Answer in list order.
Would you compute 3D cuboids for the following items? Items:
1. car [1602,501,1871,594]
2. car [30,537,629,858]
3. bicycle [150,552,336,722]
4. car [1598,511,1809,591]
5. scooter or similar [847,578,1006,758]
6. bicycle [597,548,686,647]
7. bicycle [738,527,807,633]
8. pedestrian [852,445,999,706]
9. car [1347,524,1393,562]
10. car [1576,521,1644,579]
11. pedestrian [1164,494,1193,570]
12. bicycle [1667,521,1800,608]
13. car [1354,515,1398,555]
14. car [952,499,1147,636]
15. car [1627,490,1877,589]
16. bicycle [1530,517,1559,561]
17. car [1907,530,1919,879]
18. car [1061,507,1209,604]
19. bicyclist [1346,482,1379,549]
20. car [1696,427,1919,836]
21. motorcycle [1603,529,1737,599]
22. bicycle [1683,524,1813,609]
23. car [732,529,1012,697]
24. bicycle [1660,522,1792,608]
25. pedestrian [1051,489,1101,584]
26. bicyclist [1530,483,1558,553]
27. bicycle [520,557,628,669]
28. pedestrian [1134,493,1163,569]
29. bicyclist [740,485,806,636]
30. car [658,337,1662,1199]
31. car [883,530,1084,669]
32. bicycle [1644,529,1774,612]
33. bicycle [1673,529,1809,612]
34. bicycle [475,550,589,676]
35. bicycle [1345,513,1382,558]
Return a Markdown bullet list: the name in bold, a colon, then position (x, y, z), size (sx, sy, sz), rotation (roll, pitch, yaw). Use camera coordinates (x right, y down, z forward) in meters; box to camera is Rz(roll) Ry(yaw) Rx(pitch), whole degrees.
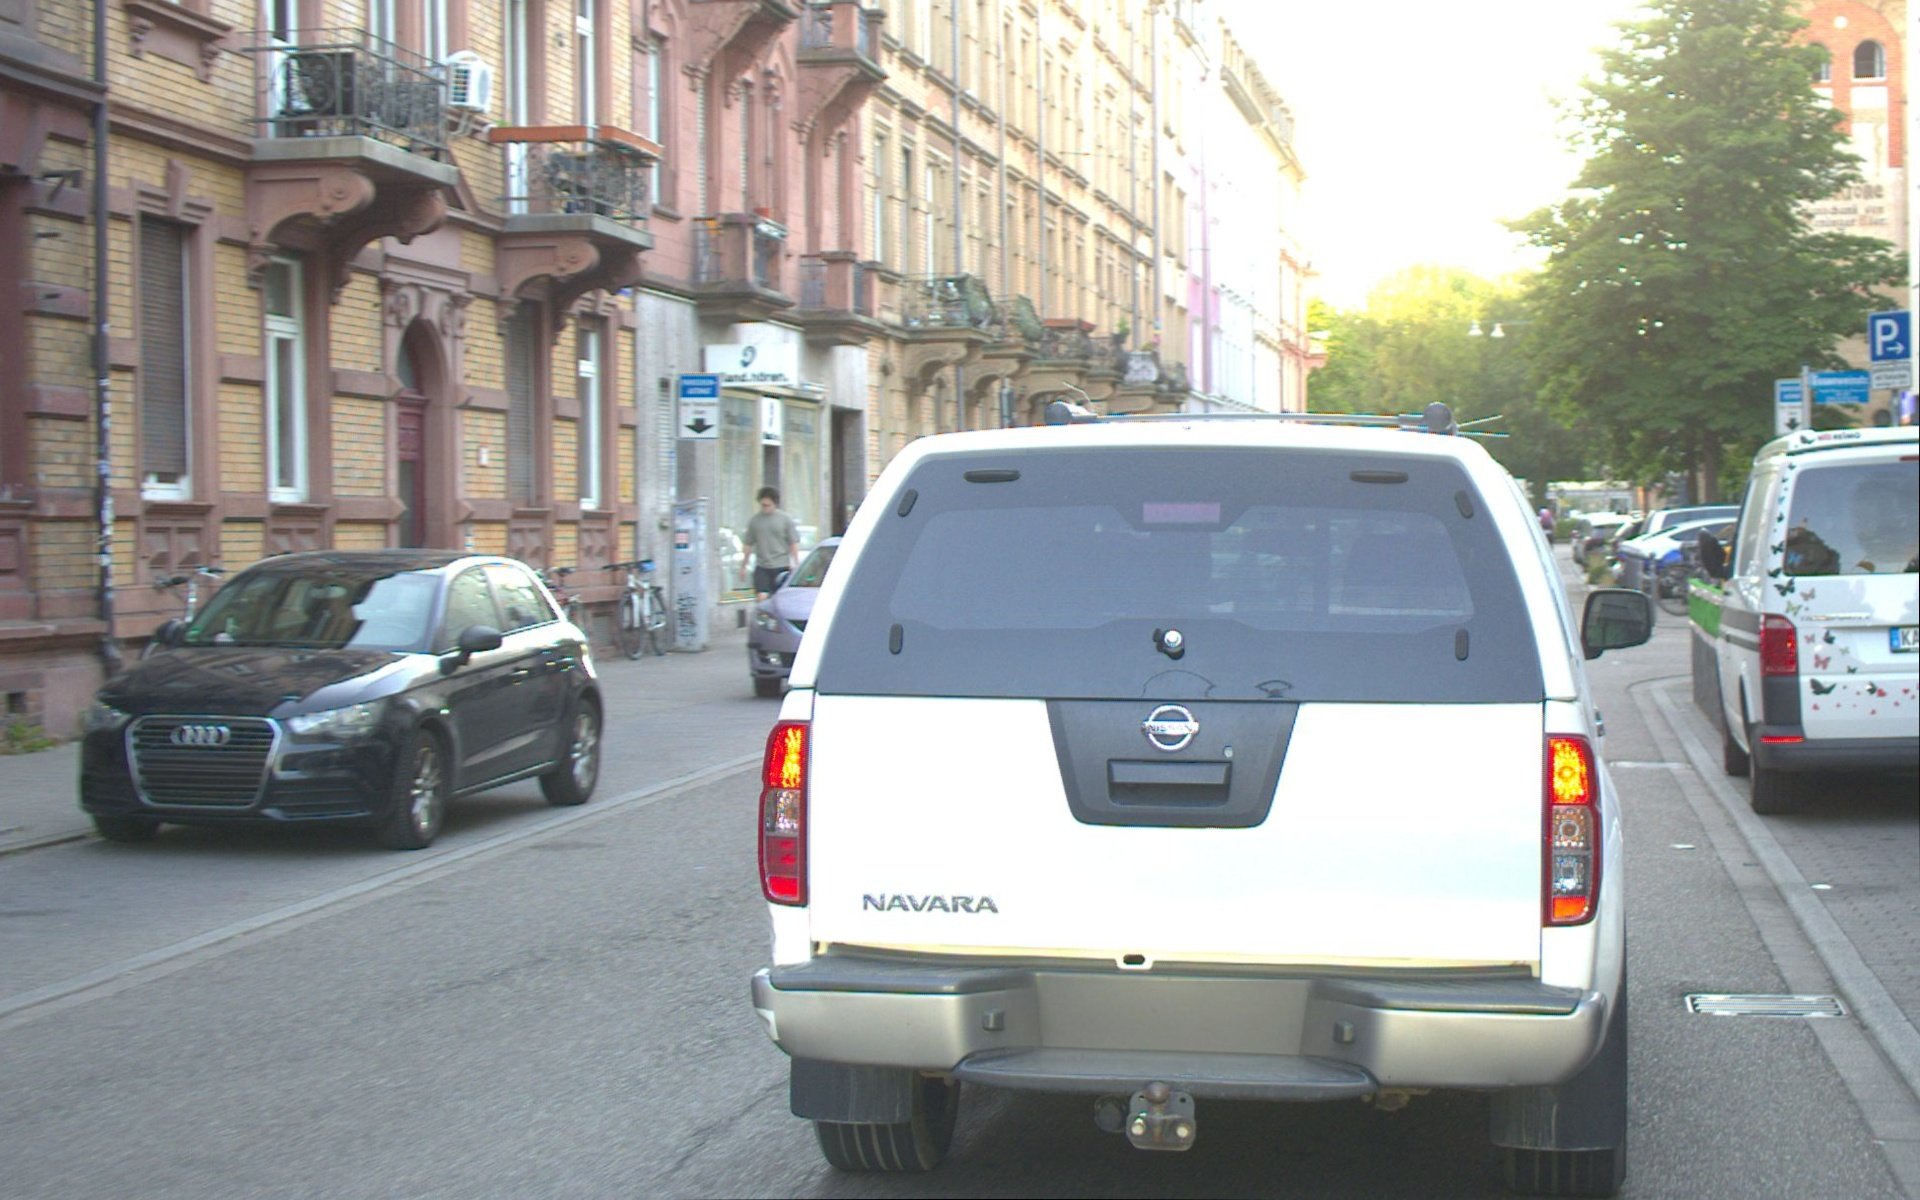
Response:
- **car**: position (13.875, -0.945, 61.578), size (4.423, 1.450, 1.779), rotation (-3, 1, 4)
- **car**: position (-3.121, 0.409, 17.824), size (1.694, 1.415, 3.852), rotation (1, 2, 12)
- **bicycle**: position (-5.282, 0.247, 25.453), size (0.527, 1.167, 2.046), rotation (2, 2, 13)
- **car**: position (14.989, -0.994, 69.436), size (3.988, 1.451, 1.828), rotation (-2, 1, 8)
- **scooter or similar**: position (-0.206, 0.428, 22.286), size (0.807, 1.100, 1.172), rotation (-1, 1, 10)
- **bicycle**: position (-3.464, -0.043, 37.502), size (0.449, 1.019, 1.847), rotation (3, 2, 10)
- **bicycle**: position (-2.163, -0.228, 39.594), size (0.708, 1.192, 1.742), rotation (0, 0, -6)
- **pedestrian**: position (-0.218, -0.164, 22.281), size (0.807, 1.654, 0.672), rotation (-1, 1, 10)
- **car**: position (15.646, -2.183, 131.188), size (1.699, 1.421, 4.021), rotation (1, 1, 7)
- **car**: position (17.768, -1.397, 94.067), size (1.677, 1.424, 4.476), rotation (-4, 1, 10)
- **pedestrian**: position (5.239, -1.635, 82.478), size (0.605, 1.766, 0.777), rotation (2, 2, 6)
- **bicycle**: position (11.662, -0.530, 51.827), size (1.790, 1.178, 0.733), rotation (-4, 0, 21)
- **car**: position (16.585, -2.587, 137.037), size (1.699, 1.547, 4.021), rotation (1, 1, 7)
- **car**: position (1.195, -0.458, 43.793), size (1.854, 1.628, 4.444), rotation (1, 2, 10)
- **car**: position (14.752, -1.134, 64.225), size (4.400, 1.642, 1.746), rotation (-2, 1, 10)
- **bicycle**: position (14.956, -1.567, 87.984), size (0.645, 1.077, 1.832), rotation (-2, 1, 8)
- **car**: position (3.832, 0.517, 9.947), size (1.593, 1.496, 3.423), rotation (-2, 1, 7)
- **car**: position (2.766, -0.730, 53.399), size (1.759, 1.407, 4.507), rotation (1, 2, 10)
- **bicyclist**: position (9.824, -2.061, 83.907), size (0.645, 1.615, 0.918), rotation (-2, 1, 1)
- **car**: position (5.220, 0.063, 19.139), size (1.959, 1.967, 5.001), rotation (-2, 1, 10)
- **motorcycle**: position (11.931, -0.609, 57.765), size (2.057, 1.074, 0.664), rotation (-3, 0, -5)
- **bicycle**: position (11.013, -0.470, 48.072), size (1.723, 1.114, 0.706), rotation (-2, 0, 13)
- **car**: position (-0.727, 0.063, 31.778), size (1.723, 1.416, 4.580), rotation (1, 1, 10)
- **bicycle**: position (11.737, -0.535, 52.669), size (1.870, 1.178, 0.742), rotation (-4, 0, 15)
- **pedestrian**: position (2.164, -1.173, 64.025), size (0.555, 1.749, 1.021), rotation (0, 0, 26)
- **bicyclist**: position (14.955, -2.092, 88.056), size (0.645, 1.754, 0.648), rotation (-2, 1, 8)
- **bicycle**: position (-3.823, 0.115, 34.172), size (0.549, 1.033, 1.759), rotation (2, 2, 10)
- **pedestrian**: position (4.510, -1.660, 82.334), size (0.580, 1.765, 0.997), rotation (2, 2, 6)
- **bicyclist**: position (-2.162, -0.450, 39.622), size (0.708, 1.724, 0.843), rotation (0, 0, -6)
- **car**: position (0.822, 0.399, 9.133), size (1.911, 1.847, 5.268), rotation (0, 1, 10)
- **car**: position (0.308, -0.046, 38.022), size (1.586, 1.415, 3.695), rotation (1, 2, 11)
- **bicycle**: position (10.664, -0.420, 49.009), size (1.723, 1.114, 0.707), rotation (-2, 0, 8)
- **bicycle**: position (11.281, -0.428, 49.700), size (1.809, 1.114, 0.707), rotation (-2, 0, 8)
- **bicycle**: position (-4.069, 0.110, 32.791), size (0.549, 1.119, 1.759), rotation (2, 2, 10)
- **bicycle**: position (9.836, -1.576, 83.905), size (0.645, 1.077, 2.168), rotation (-2, 1, 1)
